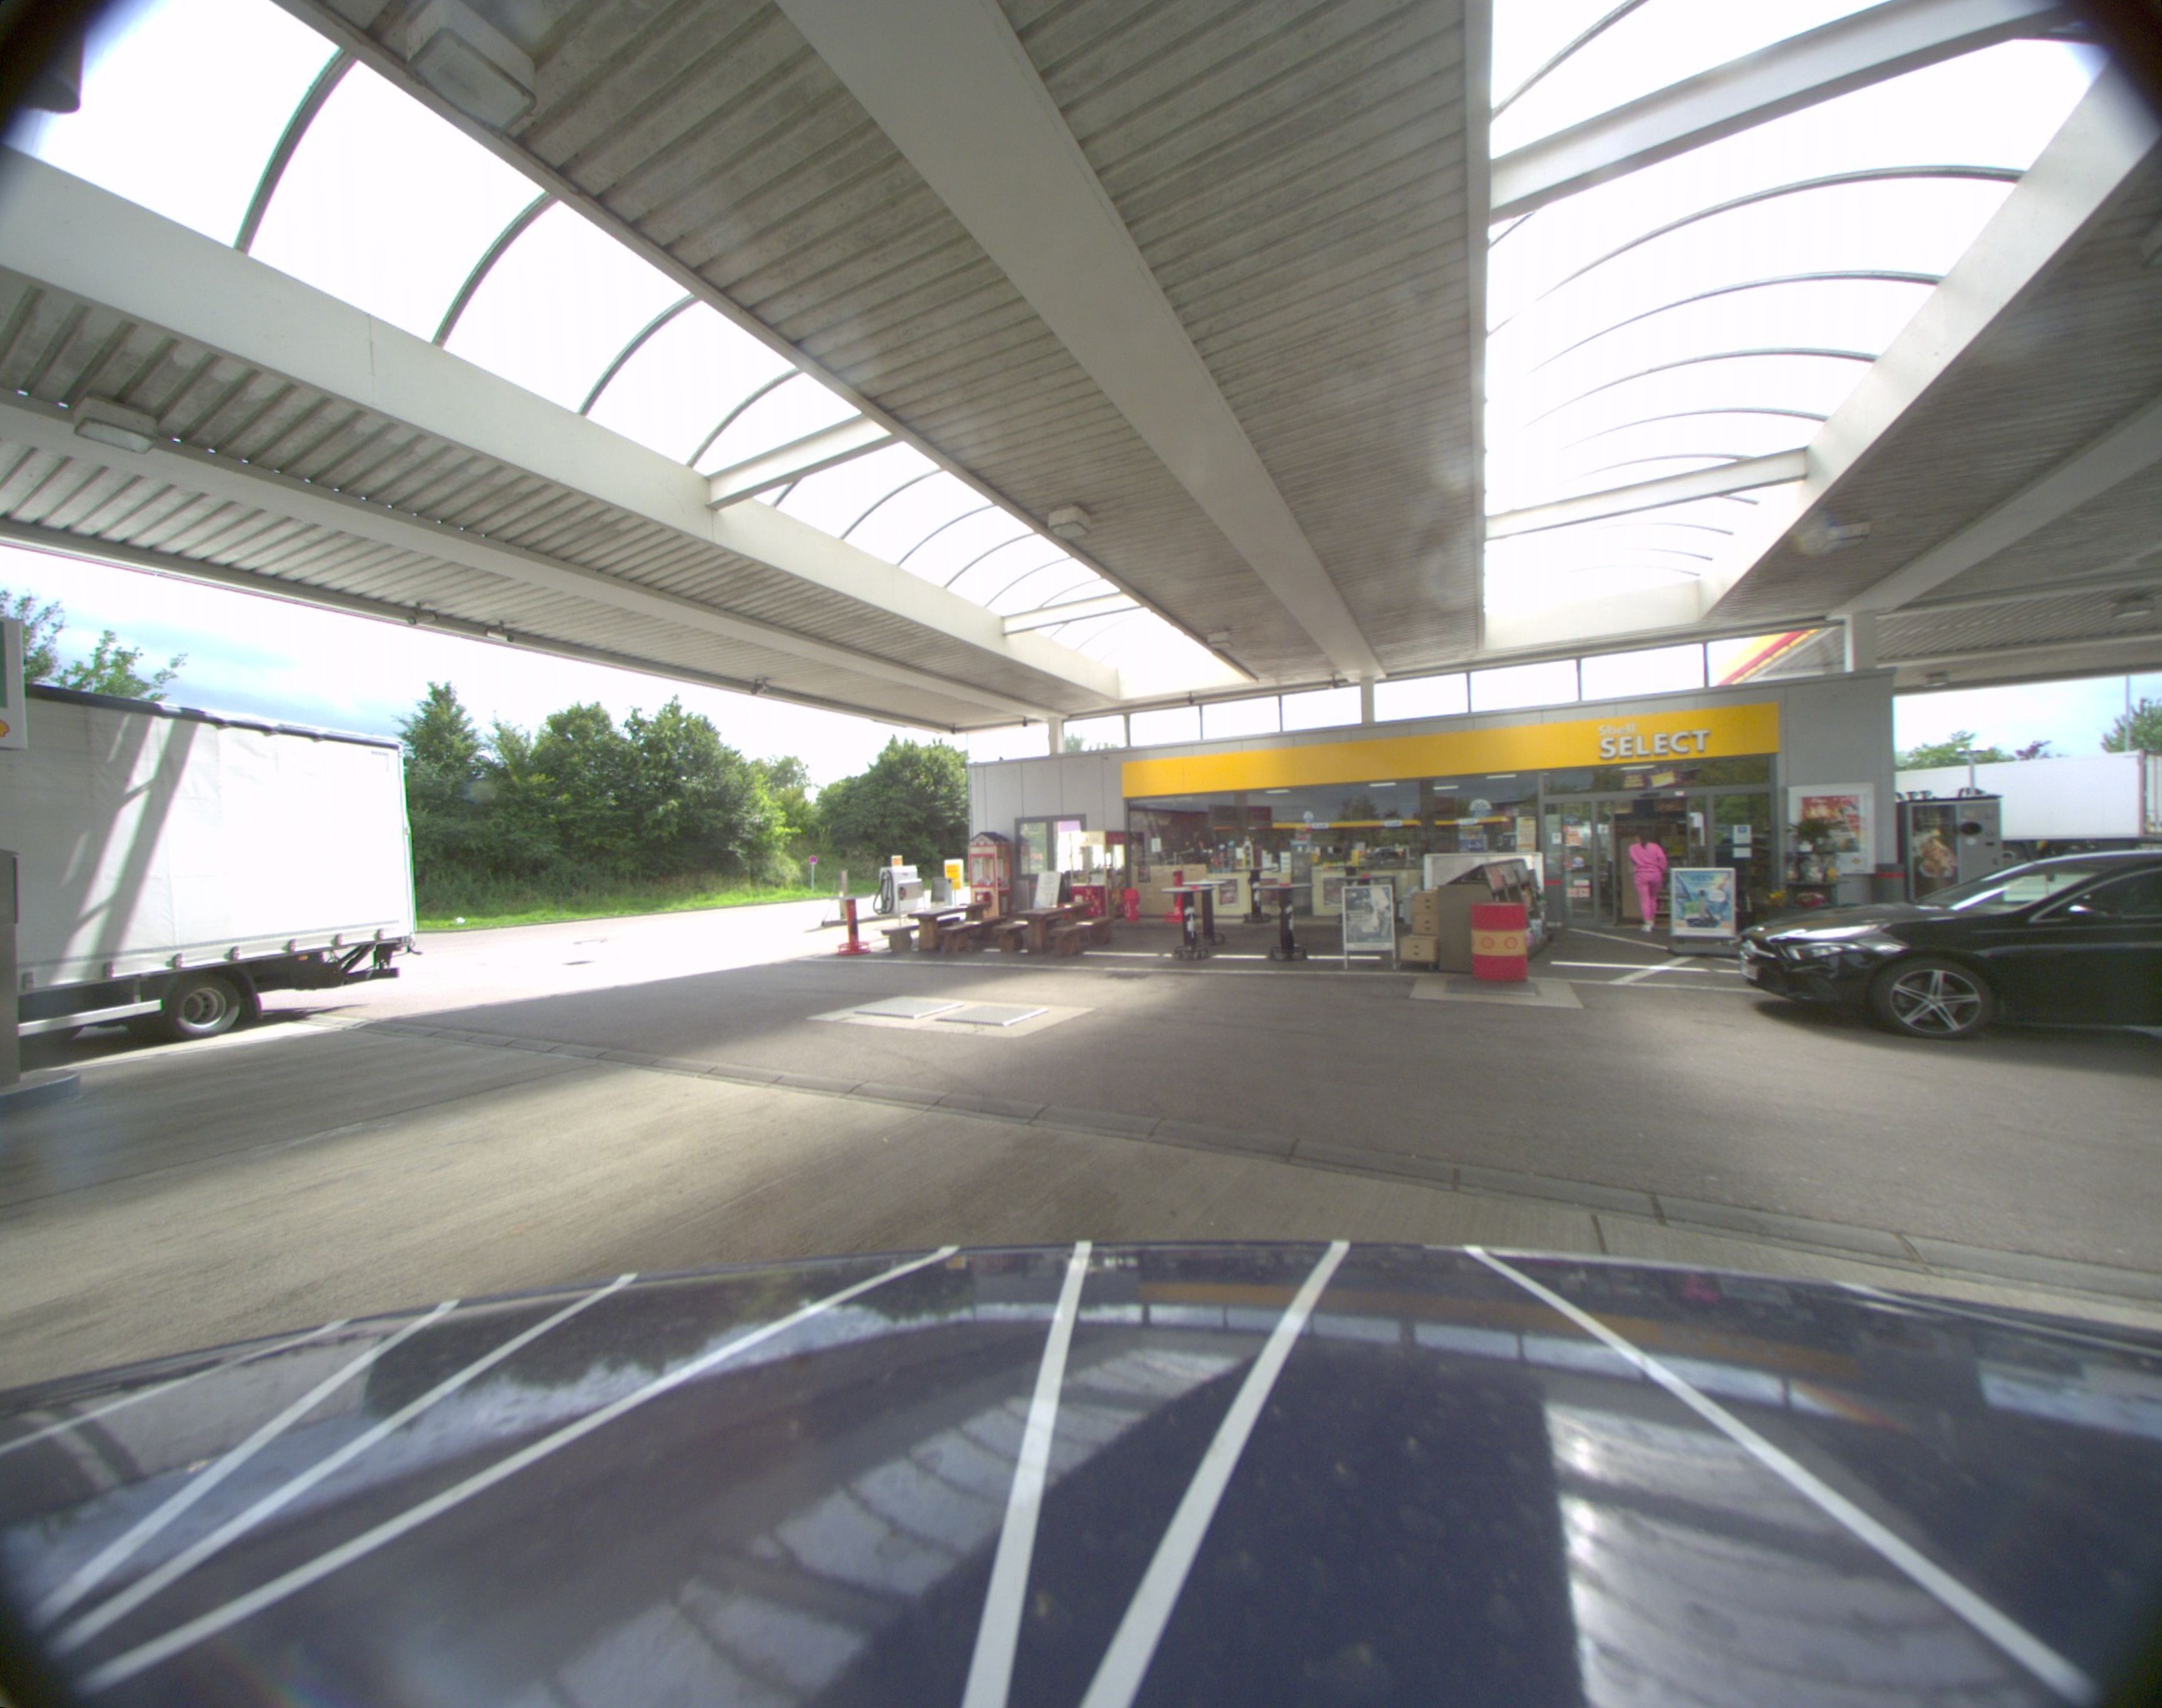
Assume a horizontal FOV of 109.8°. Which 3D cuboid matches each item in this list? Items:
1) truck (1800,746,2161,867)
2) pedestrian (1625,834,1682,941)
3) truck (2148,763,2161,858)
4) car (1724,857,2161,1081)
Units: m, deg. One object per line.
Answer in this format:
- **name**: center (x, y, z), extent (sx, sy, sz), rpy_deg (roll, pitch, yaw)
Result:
- **truck**: center (35.127, -1.616, 30.067), extent (2.796, 3.982, 9.578), rpy_deg (-3, 1, -16)
- **pedestrian**: center (9.469, 0.538, 12.588), extent (0.626, 1.703, 0.623), rpy_deg (-2, 1, 26)
- **truck**: center (51.476, -2.044, 33.148), extent (3.383, 4.479, 6.239), rpy_deg (-2, 1, 29)
- **car**: center (8.160, 0.813, 5.963), extent (4.461, 1.491, 1.782), rpy_deg (-2, 1, 28)
